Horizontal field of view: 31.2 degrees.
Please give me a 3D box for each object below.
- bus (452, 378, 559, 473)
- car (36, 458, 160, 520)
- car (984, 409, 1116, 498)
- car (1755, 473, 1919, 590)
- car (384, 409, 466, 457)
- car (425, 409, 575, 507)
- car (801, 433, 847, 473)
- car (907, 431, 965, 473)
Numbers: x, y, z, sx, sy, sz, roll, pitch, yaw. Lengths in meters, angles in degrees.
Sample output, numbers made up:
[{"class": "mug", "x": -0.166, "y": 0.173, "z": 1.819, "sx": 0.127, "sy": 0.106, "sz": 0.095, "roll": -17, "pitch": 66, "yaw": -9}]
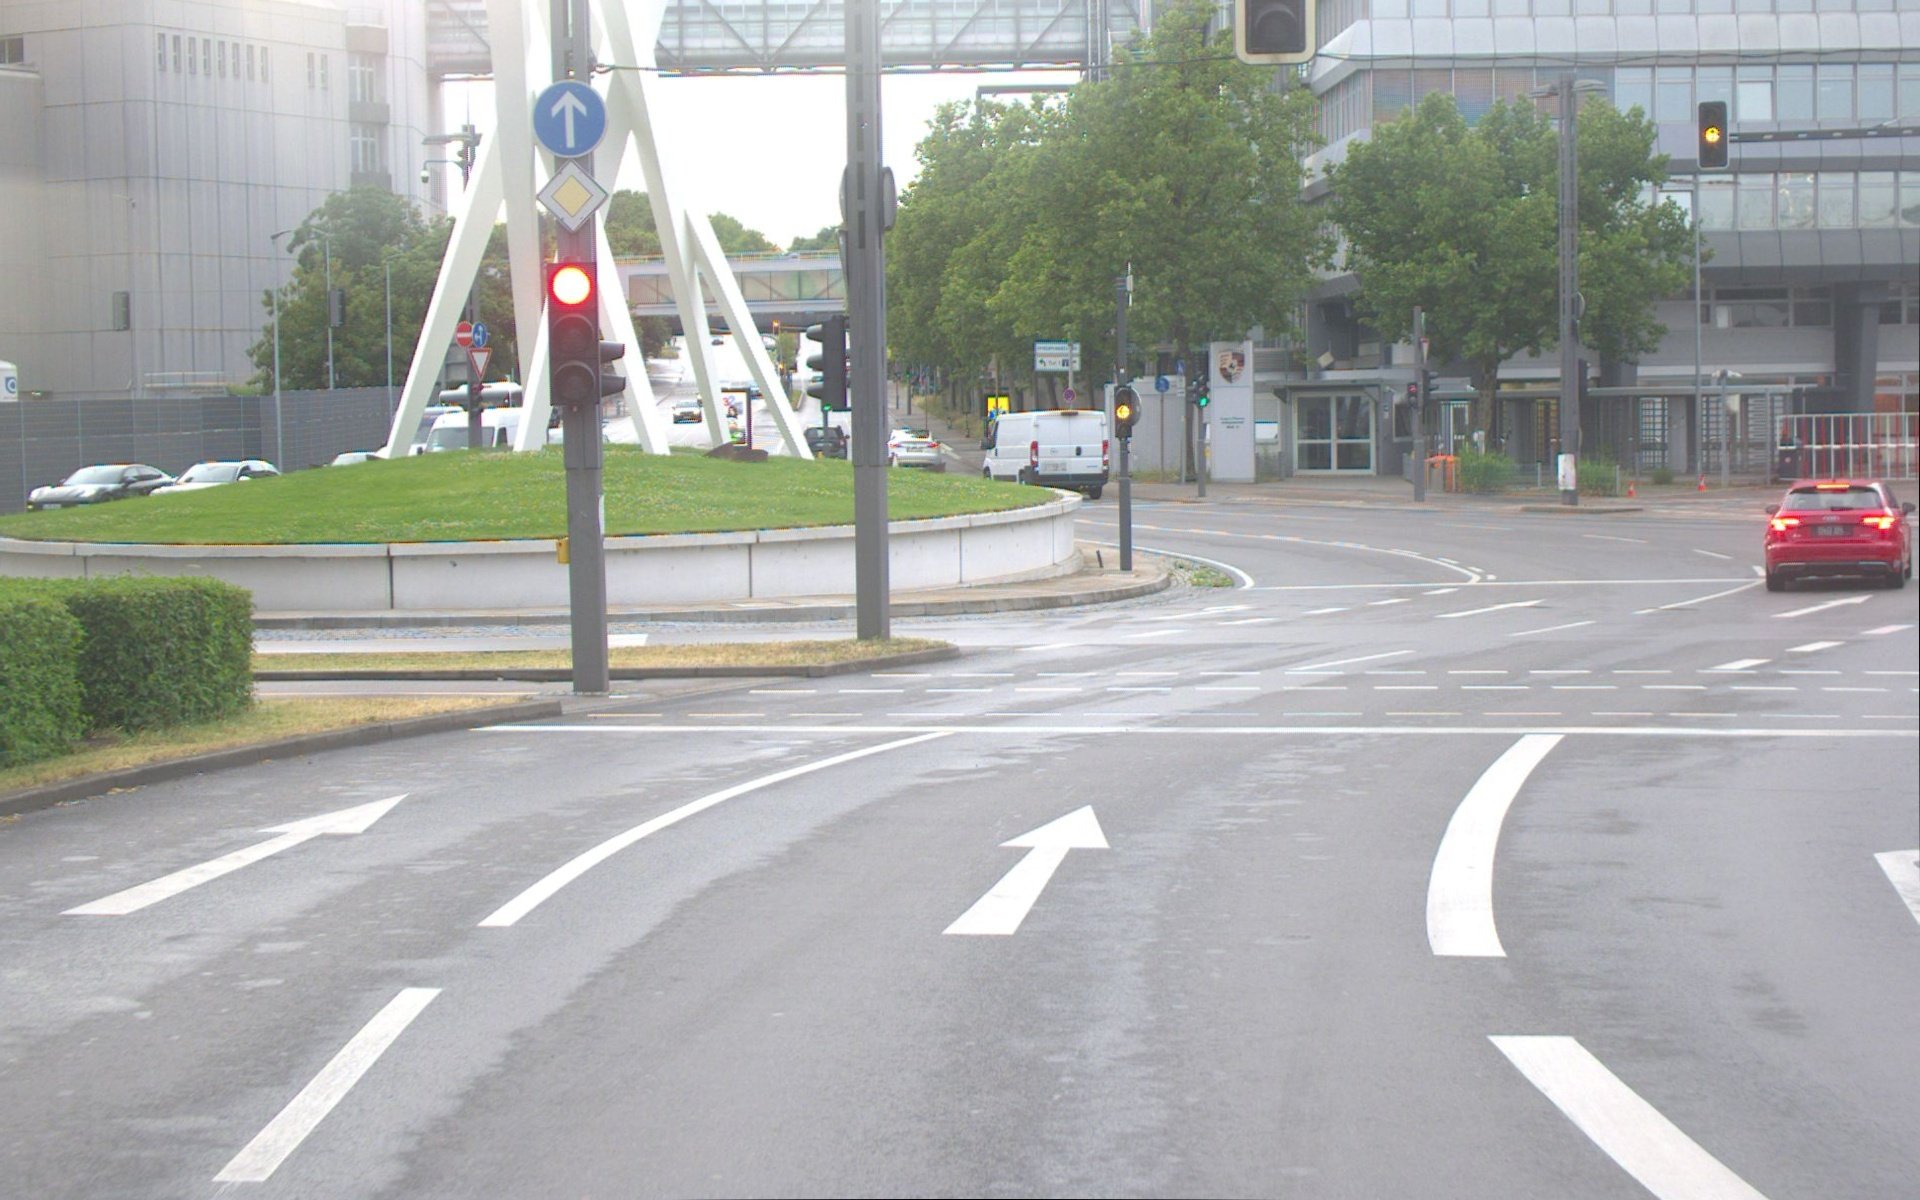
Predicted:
[{"class": "bus", "x": -15.981, "y": -6.092, "z": 121.595, "sx": 2.668, "sy": 3.189, "sz": 12.672, "roll": 0, "pitch": 2, "yaw": -3}, {"class": "car", "x": -21.143, "y": -2.743, "z": 84.518, "sx": 1.833, "sy": 1.467, "sz": 4.514, "roll": -1, "pitch": 2, "yaw": 1}, {"class": "car", "x": 2.251, "y": -3.702, "z": 87.548, "sx": 2.232, "sy": 2.100, "sz": 4.956, "roll": -1, "pitch": 1, "yaw": -12}, {"class": "car", "x": 11.542, "y": -0.892, "z": 45.024, "sx": 1.774, "sy": 1.459, "sz": 3.729, "roll": 0, "pitch": 1, "yaw": 20}, {"class": "car", "x": -17.010, "y": -5.303, "z": 109.566, "sx": 1.833, "sy": 1.467, "sz": 4.514, "roll": -1, "pitch": 2, "yaw": 1}, {"class": "car", "x": -11.902, "y": -3.691, "z": 89.308, "sx": 1.995, "sy": 2.438, "sz": 5.424, "roll": 0, "pitch": 2, "yaw": 14}, {"class": "car", "x": -4.708, "y": -5.084, "z": 119.282, "sx": 1.557, "sy": 1.284, "sz": 3.414, "roll": 0, "pitch": 1, "yaw": -2}, {"class": "car", "x": -0.815, "y": -4.954, "z": 115.077, "sx": 1.667, "sy": 1.296, "sz": 3.887, "roll": -1, "pitch": 1, "yaw": -5}]
